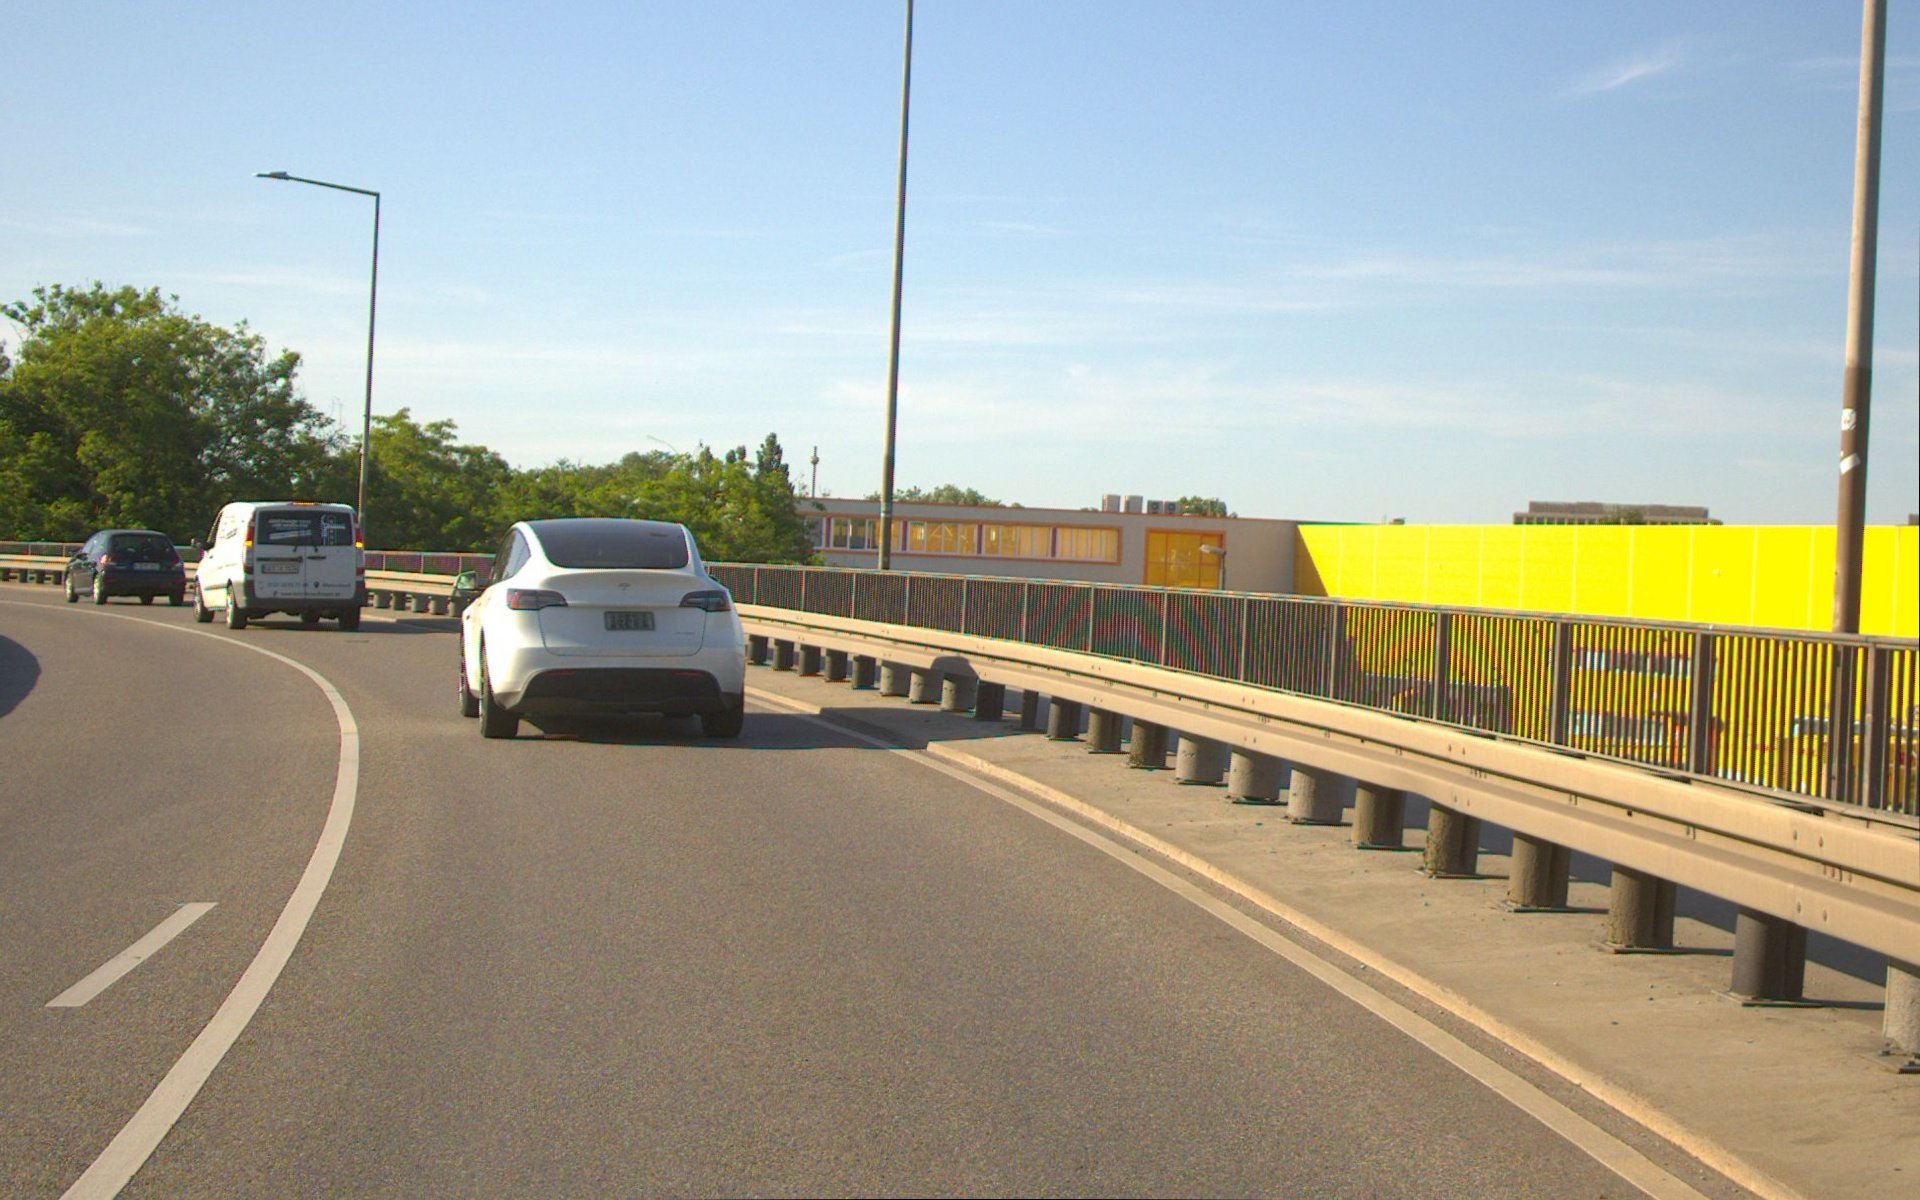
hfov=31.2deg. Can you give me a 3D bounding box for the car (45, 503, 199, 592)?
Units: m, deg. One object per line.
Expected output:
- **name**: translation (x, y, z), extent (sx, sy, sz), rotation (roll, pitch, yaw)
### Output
- **car**: translation (-16.017, -1.006, 65.591), extent (1.968, 1.632, 4.001), rotation (-1, 1, -27)

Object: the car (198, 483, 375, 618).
- **car**: translation (-10.172, -0.768, 51.682), extent (2.004, 1.934, 4.469), rotation (0, 1, -19)

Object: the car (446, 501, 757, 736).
- **car**: translation (-2.821, 0.089, 26.299), extent (1.985, 1.632, 4.064), rotation (-1, 1, -11)
